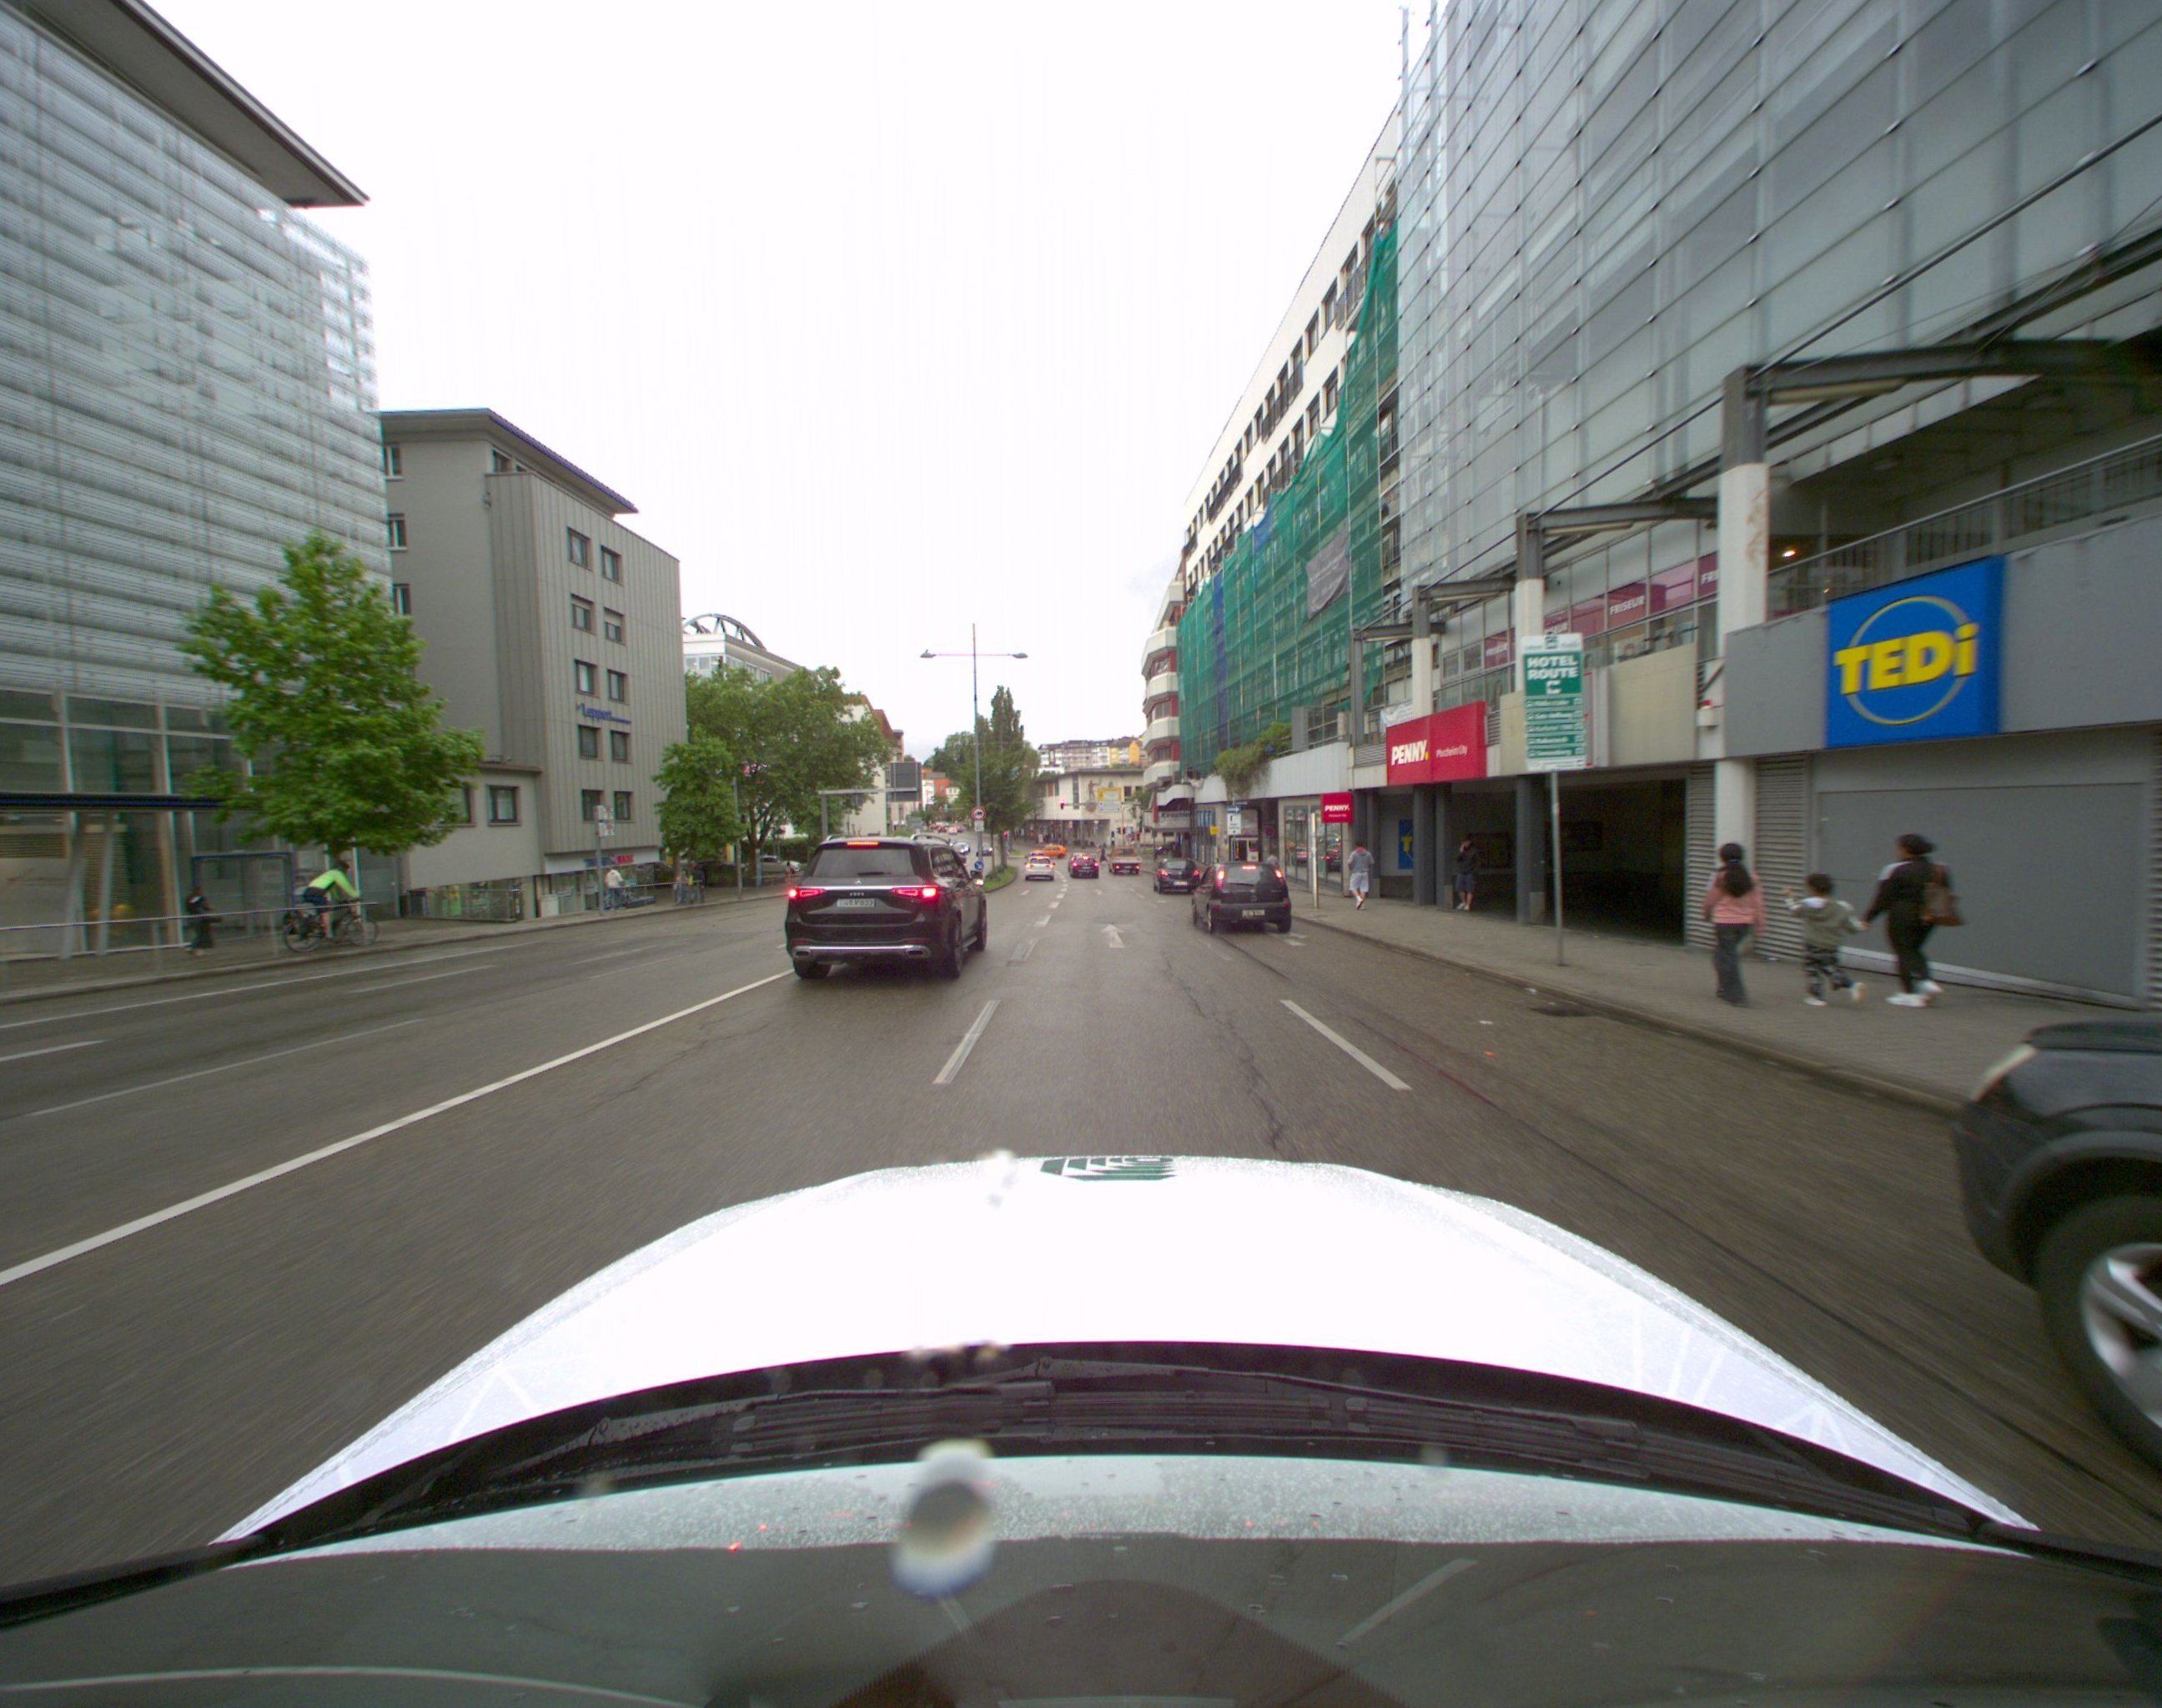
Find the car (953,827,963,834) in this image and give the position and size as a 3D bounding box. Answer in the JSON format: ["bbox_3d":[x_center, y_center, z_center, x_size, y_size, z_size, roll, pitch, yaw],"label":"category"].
[{"bbox_3d":[-29.683,-5.701,196.102,1.835,1.588,3.853,-1,0,-15],"label":"car"}]

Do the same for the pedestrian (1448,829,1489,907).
[{"bbox_3d":[8.805,0.310,18.513,0.663,1.715,0.822,-2,0,16],"label":"pedestrian"}]

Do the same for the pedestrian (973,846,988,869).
[{"bbox_3d":[-8.764,0.310,71.080,1.058,1.882,0.839,-3,0,5],"label":"pedestrian"}]

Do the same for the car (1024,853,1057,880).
[{"bbox_3d":[-2.467,0.751,50.464,1.944,1.574,3.998,-1,0,-1],"label":"car"}]

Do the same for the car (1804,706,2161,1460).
[{"bbox_3d":[3.493,0.543,0.709,1.901,1.785,4.301,-2,1,0],"label":"car"}]

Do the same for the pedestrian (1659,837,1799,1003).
[{"bbox_3d":[5.972,0.584,7.542,0.742,1.437,0.598,-4,0,7],"label":"pedestrian"}]

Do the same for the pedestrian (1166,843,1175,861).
[{"bbox_3d":[8.454,-0.218,76.913,0.576,1.699,0.648,-3,0,-11],"label":"pedestrian"}]

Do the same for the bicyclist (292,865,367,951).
[{"bbox_3d":[-16.889,1.185,18.329,0.665,1.830,0.992,-3,0,5],"label":"bicyclist"}]

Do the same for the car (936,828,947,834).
[{"bbox_3d":[-34.360,-5.685,200.755,1.757,1.554,3.540,-1,0,-24],"label":"car"}]

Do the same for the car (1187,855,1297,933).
[{"bbox_3d":[3.328,0.769,17.454,1.710,1.420,3.772,-1,0,2],"label":"car"}]

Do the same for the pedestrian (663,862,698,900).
[{"bbox_3d":[-18.767,1.251,38.182,0.968,1.722,1.092,-3,0,6],"label":"pedestrian"}]

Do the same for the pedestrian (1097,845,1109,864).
[{"bbox_3d":[2.024,0.029,75.368,1.006,1.722,0.839,-3,0,3],"label":"pedestrian"}]

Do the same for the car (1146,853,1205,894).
[{"bbox_3d":[3.908,0.773,34.369,1.944,1.574,3.998,-1,0,-1],"label":"car"}]

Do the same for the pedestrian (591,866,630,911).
[{"bbox_3d":[-19.010,1.374,32.905,0.993,1.722,1.035,-3,0,-11],"label":"pedestrian"}]

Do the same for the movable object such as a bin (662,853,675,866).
[{"bbox_3d":[-45.951,0.590,90.752,1.107,1.446,0.601,-3,0,2],"label":"movable object such as a bin"}]

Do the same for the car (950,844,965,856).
[{"bbox_3d":[-14.585,-0.470,96.555,1.706,1.451,3.850,-1,0,-9],"label":"car"}]

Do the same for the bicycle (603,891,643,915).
[{"bbox_3d":[-23.814,2.546,42.415,0.610,1.087,2.669,-1,0,-1],"label":"bicycle"}]

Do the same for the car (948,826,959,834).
[{"bbox_3d":[-28.570,-5.458,182.870,1.996,1.596,3.981,-1,0,-14],"label":"car"}]

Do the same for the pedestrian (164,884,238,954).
[{"bbox_3d":[-19.705,1.440,18.248,0.648,1.456,0.846,-3,0,6],"label":"pedestrian"}]

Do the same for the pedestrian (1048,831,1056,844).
[{"bbox_3d":[-4.335,-2.512,122.887,0.848,1.802,1.050,-3,0,-16],"label":"pedestrian"}]

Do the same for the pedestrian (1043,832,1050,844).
[{"bbox_3d":[-5.261,-2.483,123.854,0.800,1.802,0.913,-3,0,-16],"label":"pedestrian"}]

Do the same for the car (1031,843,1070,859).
[{"bbox_3d":[-3.295,-0.356,87.190,3.997,1.616,1.769,-1,0,-10],"label":"car"}]

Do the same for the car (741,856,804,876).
[{"bbox_3d":[-27.830,1.060,73.650,5.078,1.759,1.991,0,0,-14],"label":"car"}]

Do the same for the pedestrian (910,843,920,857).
[{"bbox_3d":[-20.301,-0.516,99.451,0.931,1.608,0.557,-3,0,-42],"label":"pedestrian"}]

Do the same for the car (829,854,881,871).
[{"bbox_3d":[-21.581,0.781,77.830,4.692,1.643,1.777,0,0,-16],"label":"car"}]

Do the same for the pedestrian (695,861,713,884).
[{"bbox_3d":[-28.417,1.391,61.442,0.752,1.722,0.955,-2,0,12],"label":"pedestrian"}]

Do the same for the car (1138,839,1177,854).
[{"bbox_3d":[8.433,-0.835,89.907,3.825,1.616,1.765,-1,0,-17],"label":"car"}]

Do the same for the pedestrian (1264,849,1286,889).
[{"bbox_3d":[8.286,0.635,34.823,0.635,1.649,0.566,-4,-1,40],"label":"pedestrian"}]

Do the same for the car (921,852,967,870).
[{"bbox_3d":[-12.948,0.650,76.838,4.151,1.657,1.834,-1,0,-12],"label":"car"}]

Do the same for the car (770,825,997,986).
[{"bbox_3d":[-2.497,0.570,11.679,2.081,1.817,4.792,1,0,0],"label":"car"}]

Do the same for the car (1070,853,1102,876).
[{"bbox_3d":[0.281,0.693,54.995,1.809,1.441,3.993,0,1,-5],"label":"car"}]

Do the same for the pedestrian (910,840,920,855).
[{"bbox_3d":[-20.595,-0.835,100.951,0.911,1.802,0.620,-3,0,-42],"label":"pedestrian"}]

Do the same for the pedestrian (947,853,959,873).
[{"bbox_3d":[-11.465,0.767,72.698,0.832,1.722,0.819,-3,0,2],"label":"pedestrian"}]

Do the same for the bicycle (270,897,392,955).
[{"bbox_3d":[-16.864,1.588,18.386,0.675,1.099,2.073,-2,0,5],"label":"bicycle"}]

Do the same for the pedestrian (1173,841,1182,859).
[{"bbox_3d":[9.124,-0.373,77.108,0.577,1.699,0.647,-3,0,-16],"label":"pedestrian"}]

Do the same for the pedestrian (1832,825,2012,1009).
[{"bbox_3d":[7.104,0.509,6.924,0.767,1.467,0.706,-2,0,10],"label":"pedestrian"}]

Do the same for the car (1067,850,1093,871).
[{"bbox_3d":[-0.135,0.483,64.247,1.757,1.542,3.995,-1,1,-4],"label":"car"}]

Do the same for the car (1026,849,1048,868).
[{"bbox_3d":[-3.668,0.355,67.491,1.791,1.468,3.994,-1,1,-4],"label":"car"}]

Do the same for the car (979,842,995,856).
[{"bbox_3d":[-11.237,-0.602,97.643,1.818,1.549,3.992,-1,0,-6],"label":"car"}]

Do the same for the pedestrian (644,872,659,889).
[{"bbox_3d":[-32.778,2.000,62.102,0.954,1.272,0.753,-3,0,-28],"label":"pedestrian"}]

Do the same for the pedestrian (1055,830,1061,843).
[{"bbox_3d":[-3.534,-2.666,123.965,0.704,1.802,0.933,-3,0,-16],"label":"pedestrian"}]

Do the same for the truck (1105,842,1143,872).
[{"bbox_3d":[3.192,0.176,61.499,2.180,2.082,5.595,-1,0,-4],"label":"truck"}]

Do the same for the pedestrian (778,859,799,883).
[{"bbox_3d":[-22.736,1.333,63.286,0.940,1.722,1.021,-3,2,26],"label":"pedestrian"}]

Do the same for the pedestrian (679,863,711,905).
[{"bbox_3d":[-16.636,1.268,35.166,0.815,1.713,1.309,-3,0,-8],"label":"pedestrian"}]

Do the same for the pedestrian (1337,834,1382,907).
[{"bbox_3d":[6.834,0.385,19.995,0.831,1.722,0.831,-2,0,7],"label":"pedestrian"}]

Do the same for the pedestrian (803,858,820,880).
[{"bbox_3d":[-21.758,1.185,65.792,0.941,1.722,0.763,-2,0,18],"label":"pedestrian"}]

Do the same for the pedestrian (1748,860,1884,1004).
[{"bbox_3d":[6.575,0.681,7.314,0.686,1.207,0.555,-2,0,7],"label":"pedestrian"}]
